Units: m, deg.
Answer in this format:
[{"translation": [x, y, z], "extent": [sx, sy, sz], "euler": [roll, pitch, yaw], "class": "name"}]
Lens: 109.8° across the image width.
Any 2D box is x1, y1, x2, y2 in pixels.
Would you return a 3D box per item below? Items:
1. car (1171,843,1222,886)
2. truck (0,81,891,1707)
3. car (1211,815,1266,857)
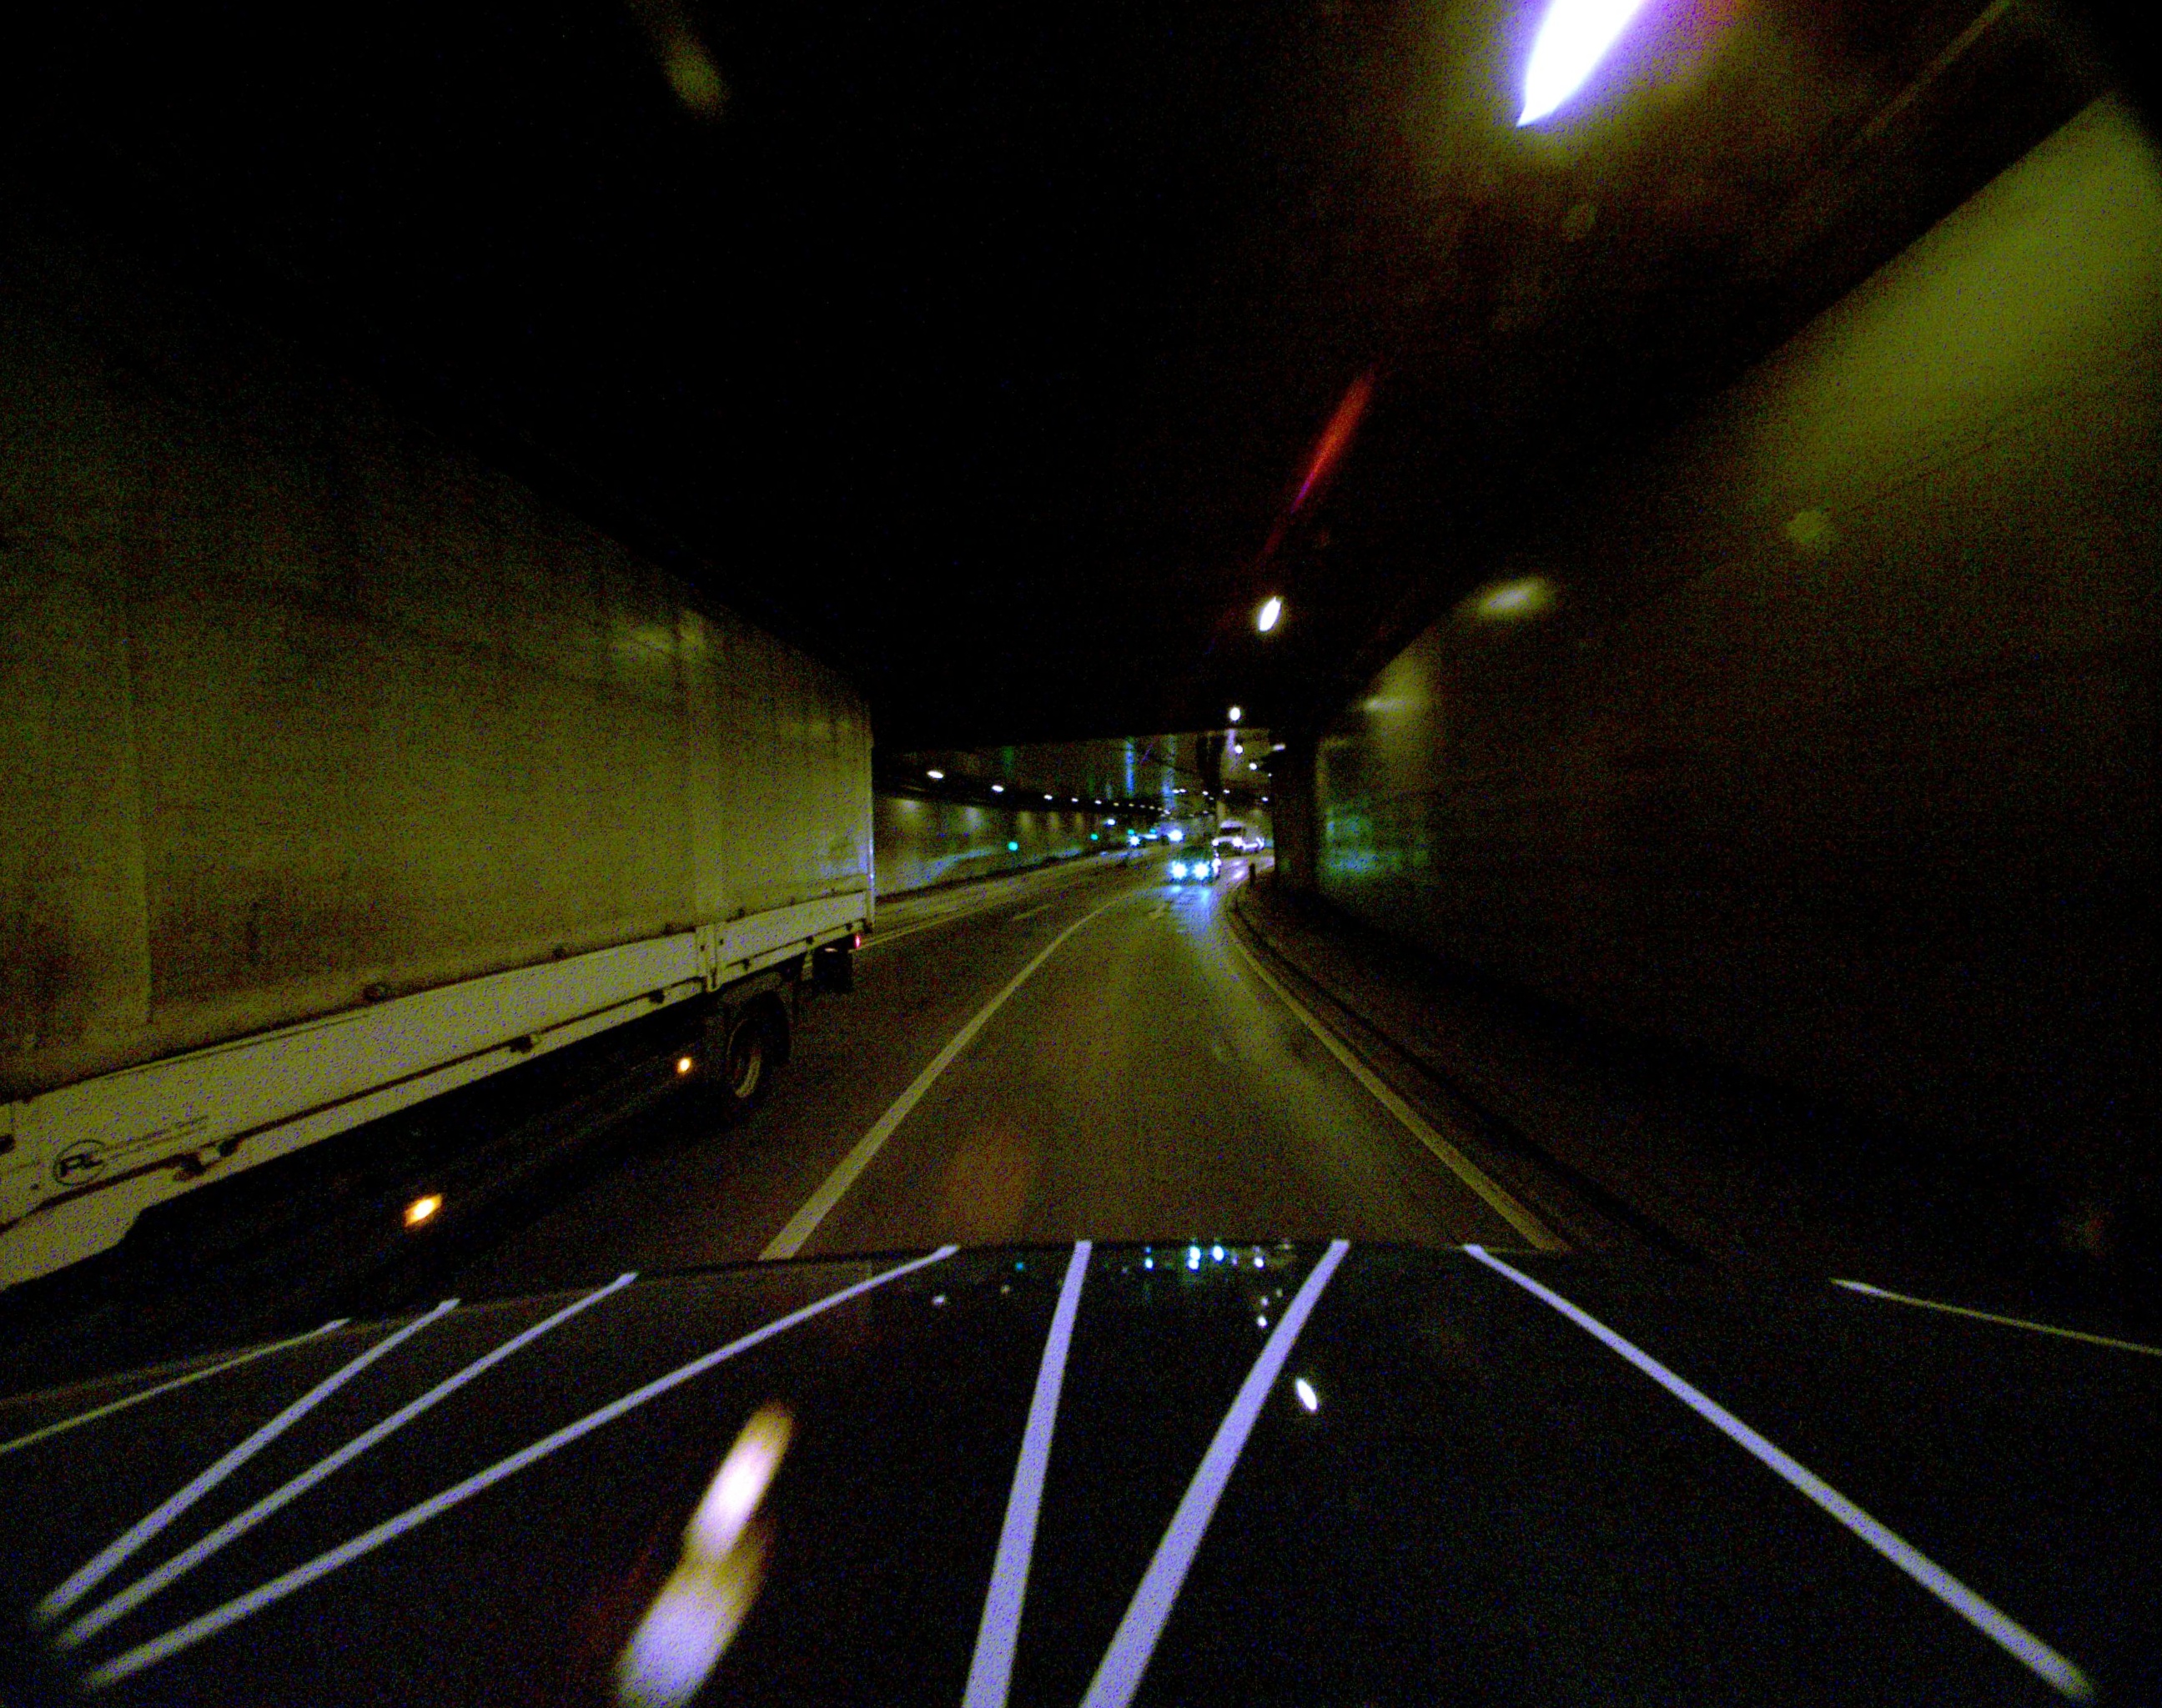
[{"translation": [4.883, 0.416, 31.869], "extent": [1.637, 1.552, 3.719], "euler": [-1, 3, 16], "class": "car"}, {"translation": [-3.172, 0.185, 3.066], "extent": [2.559, 3.162, 7.247], "euler": [-2, 0, 3], "class": "truck"}, {"translation": [11.906, -1.425, 56.948], "extent": [2.103, 2.832, 6.870], "euler": [-1, 3, 28], "class": "car"}]
